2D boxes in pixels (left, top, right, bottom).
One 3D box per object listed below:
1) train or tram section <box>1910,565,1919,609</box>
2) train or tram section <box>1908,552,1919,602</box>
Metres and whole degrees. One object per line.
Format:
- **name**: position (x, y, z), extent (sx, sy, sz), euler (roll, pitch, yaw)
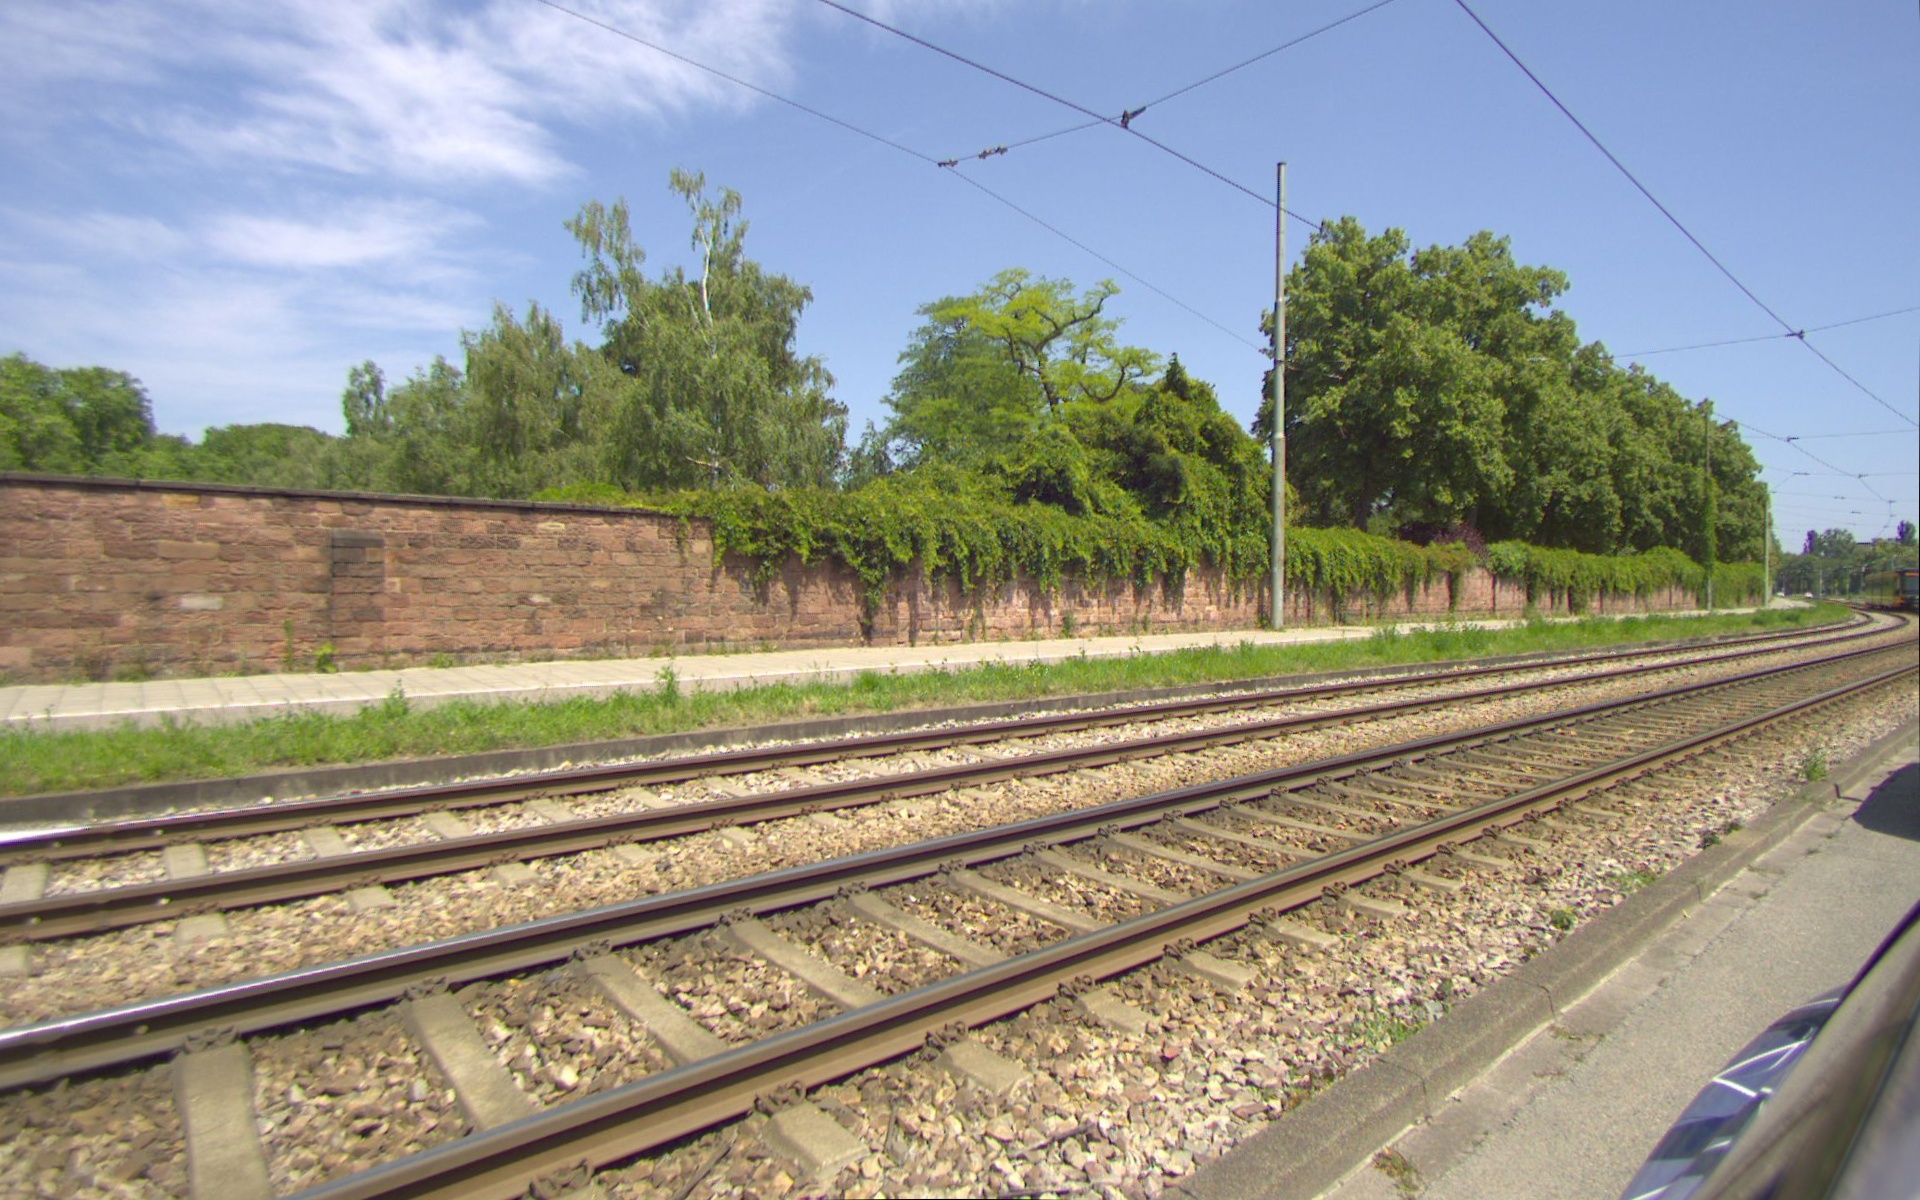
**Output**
- **train or tram section**: position (89.740, -1.236, 93.462), extent (2.776, 3.859, 14.037), euler (0, 1, 44)
- **train or tram section**: position (80.046, -1.919, 83.269), extent (2.806, 3.855, 14.038), euler (0, 1, 44)
